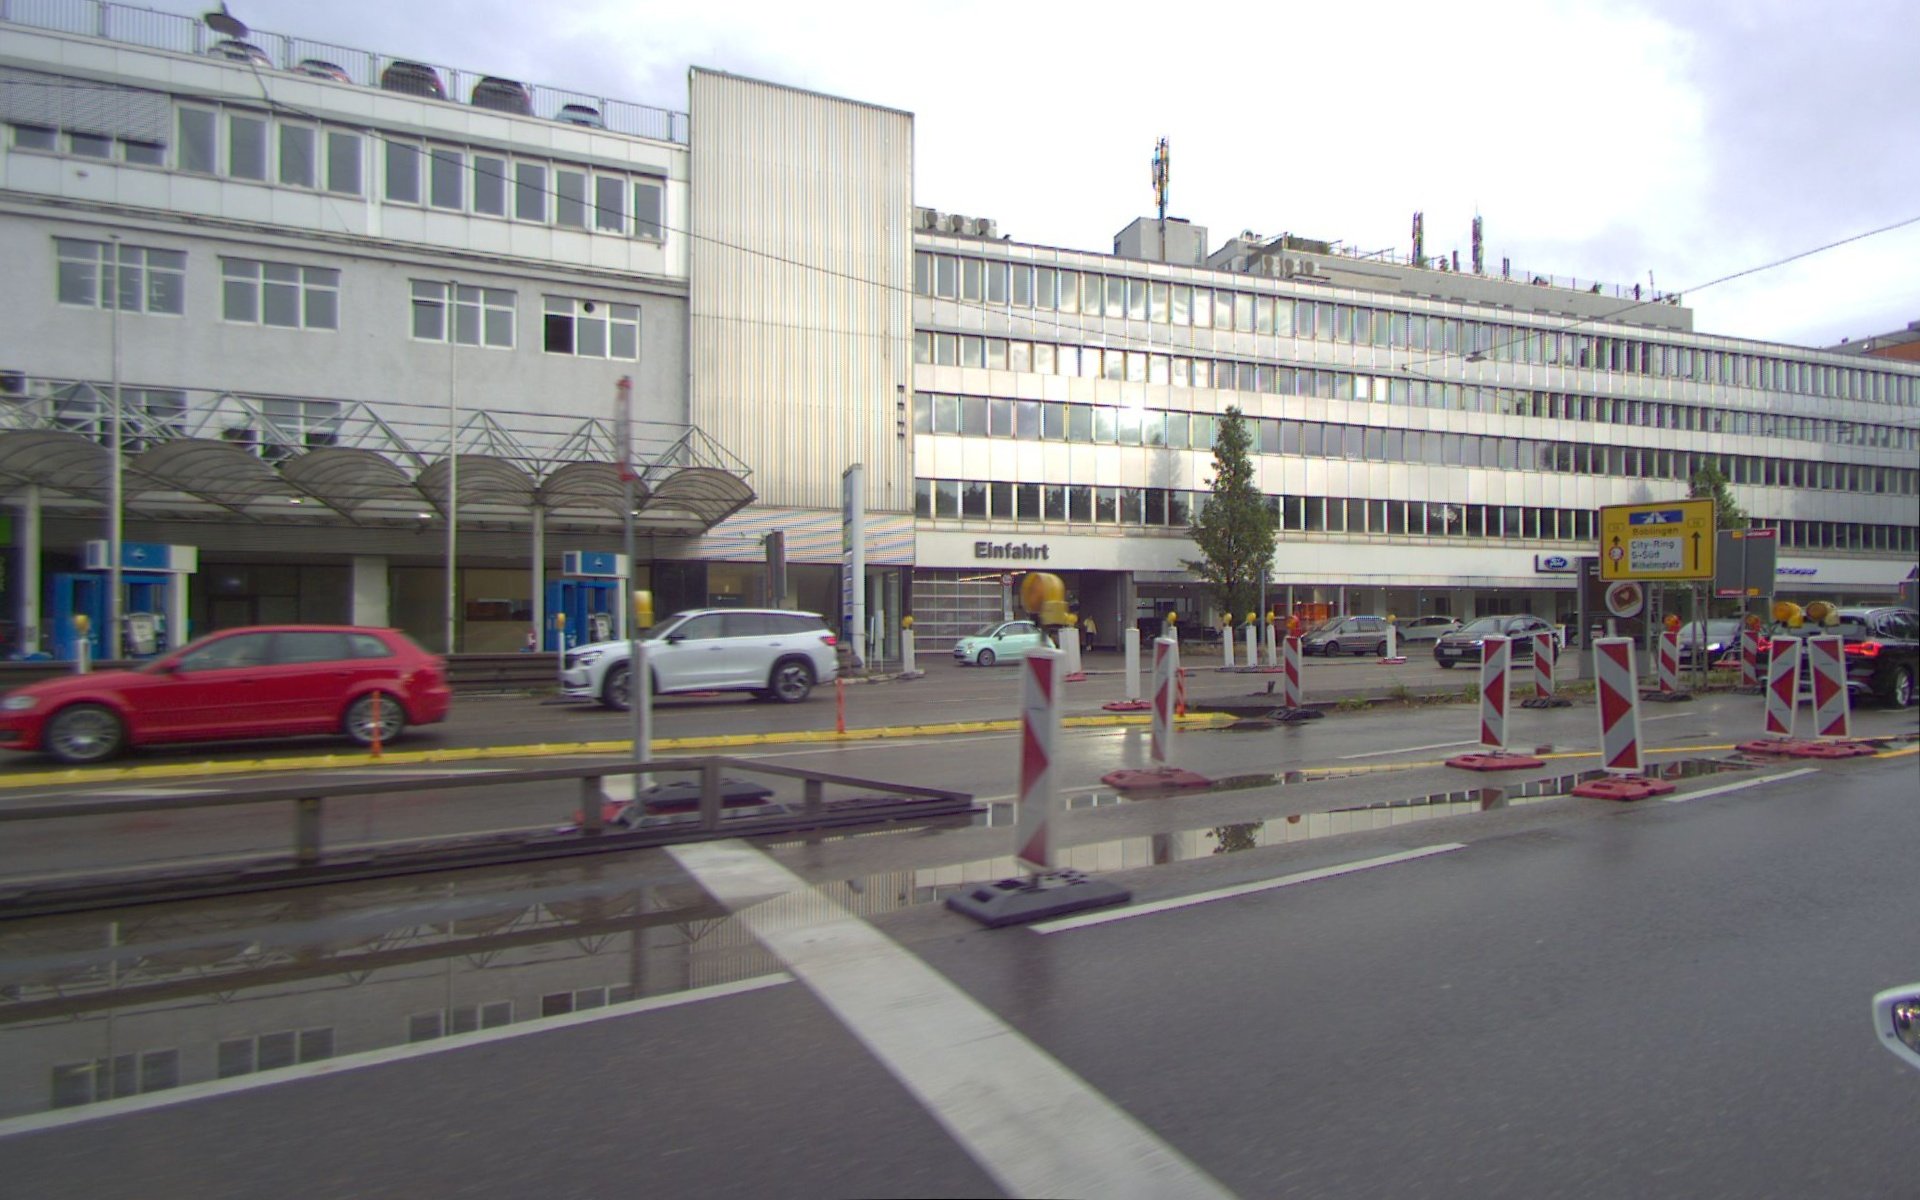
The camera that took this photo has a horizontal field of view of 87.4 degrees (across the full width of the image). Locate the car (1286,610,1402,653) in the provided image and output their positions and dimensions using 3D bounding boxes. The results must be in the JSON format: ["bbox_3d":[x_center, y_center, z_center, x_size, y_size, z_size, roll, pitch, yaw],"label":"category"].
[{"bbox_3d":[17.015,1.401,44.527,4.656,1.802,1.847,0,-2,-19],"label":"car"}]

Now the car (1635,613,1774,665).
[{"bbox_3d":[21.079,1.076,28.403,4.066,1.372,1.681,0,-2,-30],"label":"car"}]

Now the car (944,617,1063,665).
[{"bbox_3d":[1.471,1.386,34.140,3.703,1.555,1.649,0,-2,-24],"label":"car"}]

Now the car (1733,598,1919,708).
[{"bbox_3d":[15.884,0.816,17.502,4.606,1.619,1.941,-1,1,-25],"label":"car"}]

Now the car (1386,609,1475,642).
[{"bbox_3d":[25.528,1.424,54.544,4.305,1.673,1.852,-2,-2,27],"label":"car"}]

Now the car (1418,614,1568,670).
[{"bbox_3d":[15.349,1.194,28.941,3.944,1.533,1.748,1,-2,-24],"label":"car"}]

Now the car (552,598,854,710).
[{"bbox_3d":[-4.440,0.875,17.558,4.775,1.730,1.970,0,-2,-31],"label":"car"}]

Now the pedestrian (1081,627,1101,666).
[{"bbox_3d":[5.962,2.116,45.691,0.656,1.743,0.706,-2,-2,27],"label":"pedestrian"}]

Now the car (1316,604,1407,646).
[{"bbox_3d":[20.818,1.310,52.191,3.940,2.040,1.991,-3,-3,40],"label":"car"}]

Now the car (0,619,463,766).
[{"bbox_3d":[-8.134,0.936,11.559,4.239,1.422,1.727,0,-1,-31],"label":"car"}]

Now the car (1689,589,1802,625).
[{"bbox_3d":[48.325,0.478,61.943,5.112,2.038,1.997,-2,-2,29],"label":"car"}]

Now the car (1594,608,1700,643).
[{"bbox_3d":[41.403,1.562,60.685,4.891,1.922,2.000,-2,-2,20],"label":"car"}]

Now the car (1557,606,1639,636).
[{"bbox_3d":[37.105,1.233,58.423,3.934,1.594,1.994,-3,-3,35],"label":"car"}]
